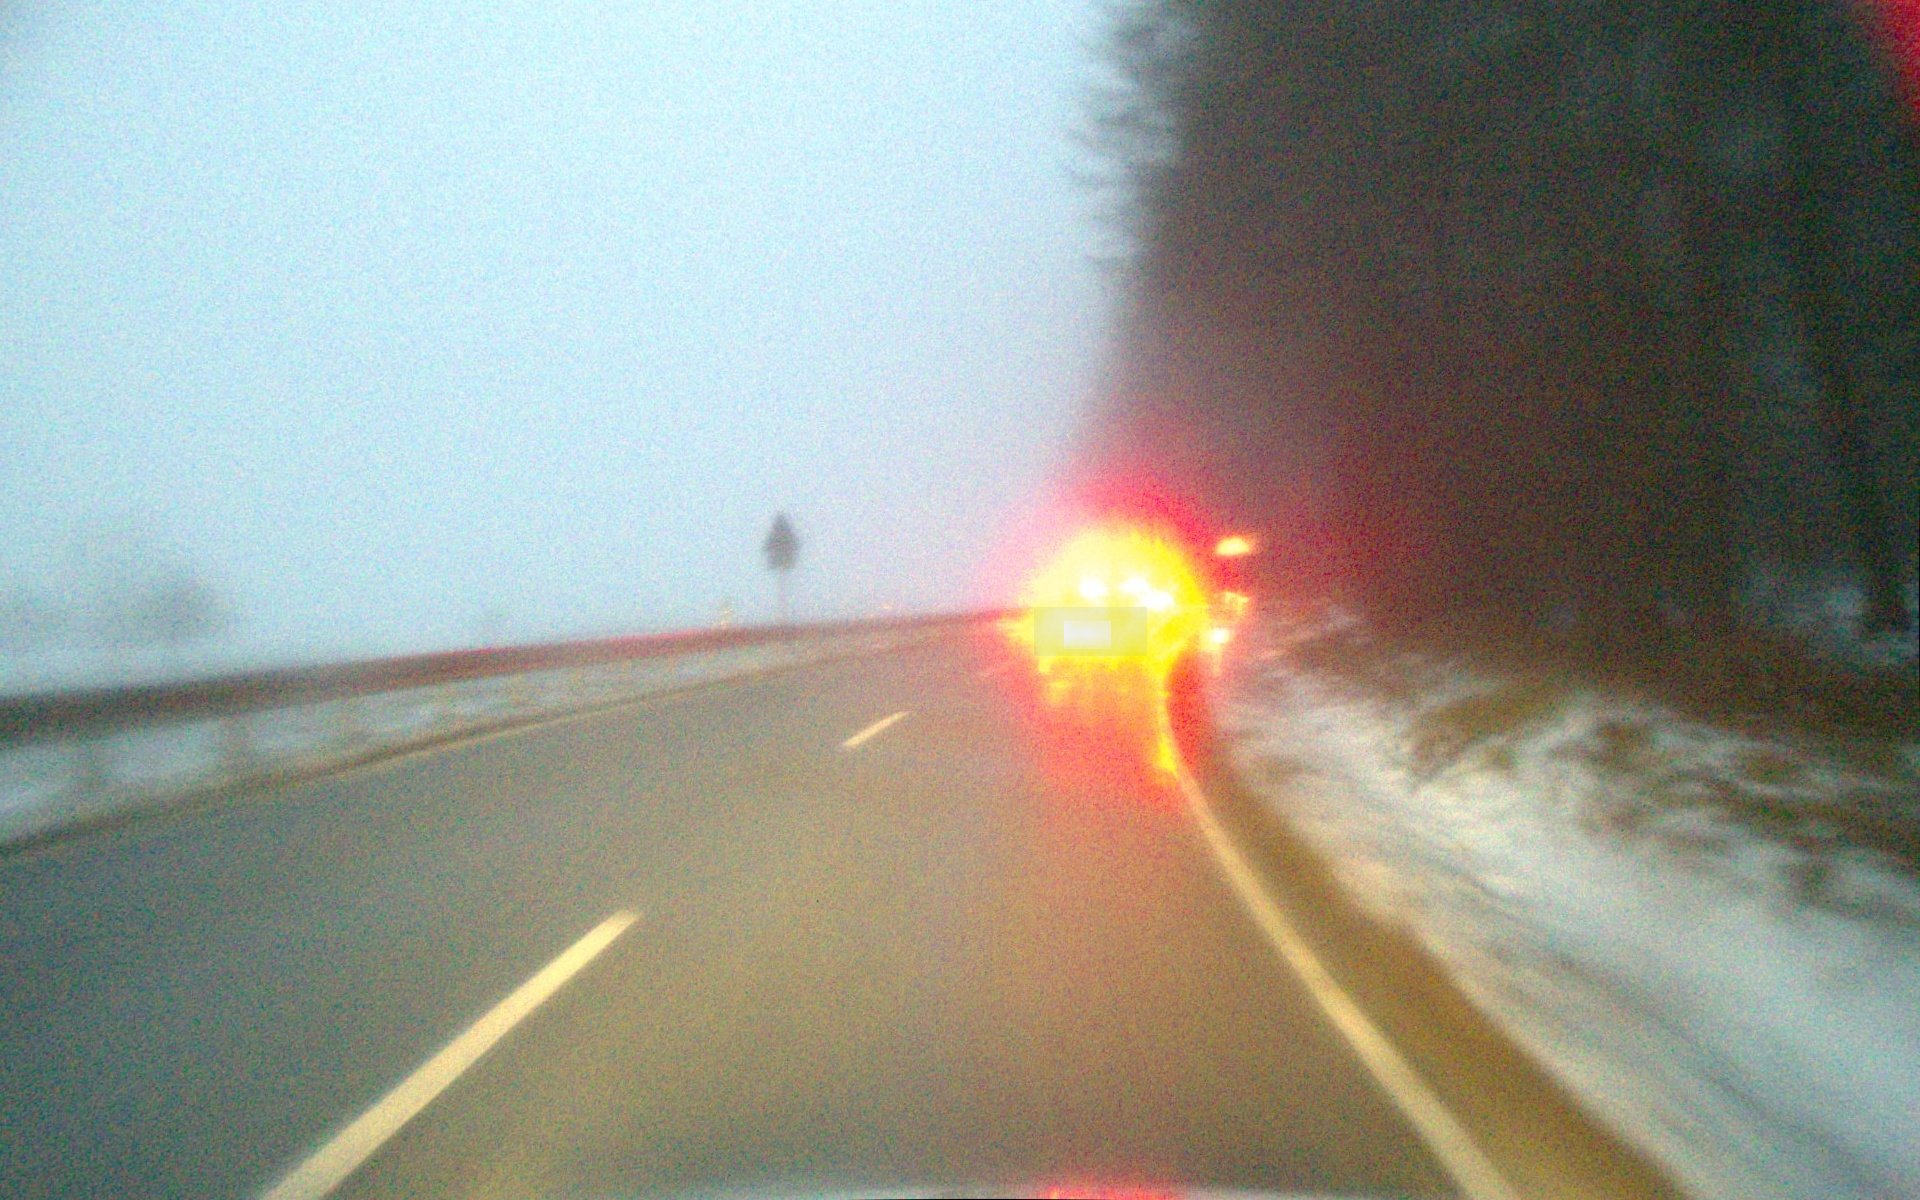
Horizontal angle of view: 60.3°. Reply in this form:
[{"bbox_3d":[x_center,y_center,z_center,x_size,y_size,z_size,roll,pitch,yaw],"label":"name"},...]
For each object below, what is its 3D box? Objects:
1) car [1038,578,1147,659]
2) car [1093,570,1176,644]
[{"bbox_3d":[2.542,0.319,31.294,1.904,1.405,4.003,1,0,6],"label":"car"},{"bbox_3d":[4.441,0.152,42.520,1.952,1.814,4.002,0,0,4],"label":"car"}]
